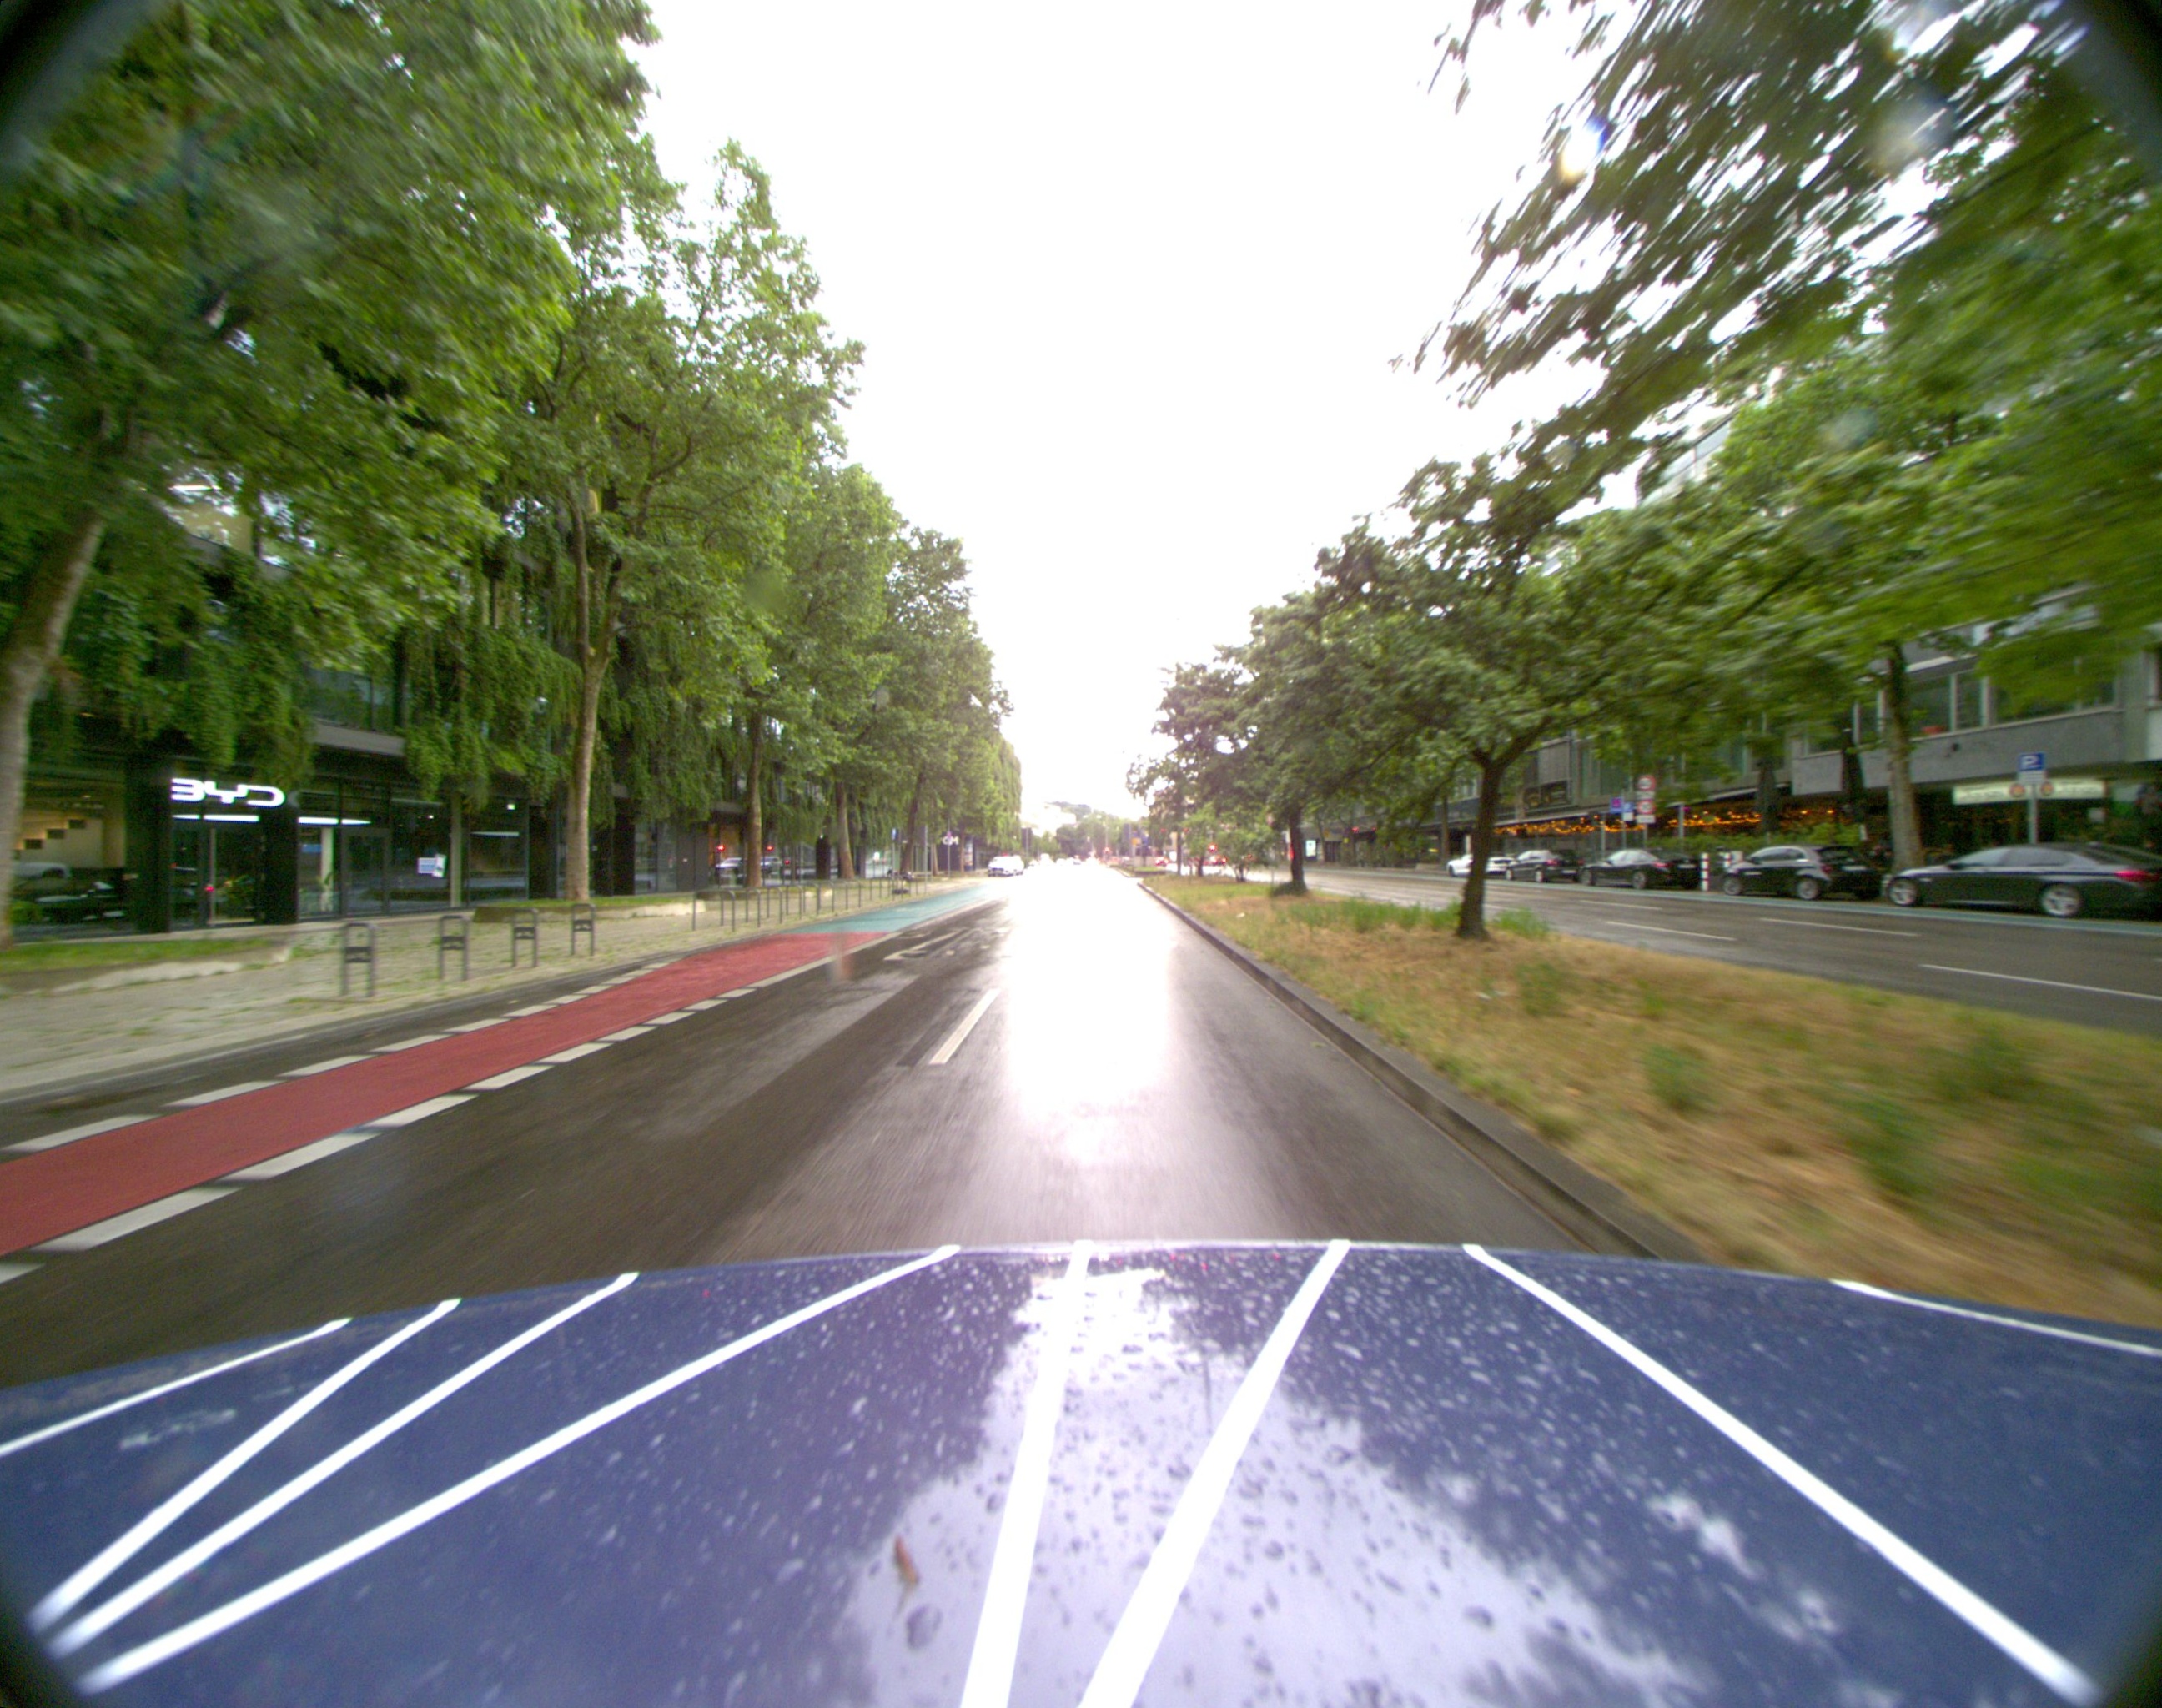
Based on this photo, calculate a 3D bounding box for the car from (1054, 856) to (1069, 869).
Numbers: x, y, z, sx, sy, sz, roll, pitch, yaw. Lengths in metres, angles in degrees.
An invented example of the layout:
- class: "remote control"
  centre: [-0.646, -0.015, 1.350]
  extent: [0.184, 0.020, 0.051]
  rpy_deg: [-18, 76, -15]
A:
- class: "car"
  centre: [-2.448, 1.054, 97.221]
  extent: [1.780, 1.546, 3.929]
  rpy_deg: [-2, 1, 1]

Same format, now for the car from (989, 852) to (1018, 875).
- class: "car"
  centre: [-6.679, 0.799, 65.988]
  extent: [1.932, 1.726, 4.598]
  rpy_deg: [-2, 1, 0]

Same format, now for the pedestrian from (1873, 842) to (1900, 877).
- class: "pedestrian"
  centre: [27.695, 0.191, 26.128]
  extent: [0.467, 1.179, 0.445]
  rpy_deg: [-3, 2, -9]

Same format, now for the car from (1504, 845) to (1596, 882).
- class: "car"
  centre: [20.433, 0.378, 33.286]
  extent: [1.750, 1.445, 3.788]
  rpy_deg: [-2, 1, 2]

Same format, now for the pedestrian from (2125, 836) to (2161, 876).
- class: "pedestrian"
  centre: [27.589, 0.055, 19.692]
  extent: [0.486, 0.995, 0.490]
  rpy_deg: [-3, 2, -14]

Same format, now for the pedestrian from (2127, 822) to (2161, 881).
- class: "pedestrian"
  centre: [30.459, -0.086, 21.603]
  extent: [0.606, 1.638, 0.623]
  rpy_deg: [-2, 2, -3]

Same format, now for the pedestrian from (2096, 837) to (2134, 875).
- class: "pedestrian"
  centre: [27.573, 0.049, 20.265]
  extent: [0.459, 0.987, 0.463]
  rpy_deg: [-3, 2, -14]

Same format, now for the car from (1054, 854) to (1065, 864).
- class: "car"
  centre: [-3.422, 0.795, 121.765]
  extent: [1.556, 1.534, 3.663]
  rpy_deg: [-2, 1, 1]

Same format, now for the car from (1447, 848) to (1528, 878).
- class: "car"
  centre: [20.665, 0.418, 38.860]
  extent: [1.881, 1.318, 4.392]
  rpy_deg: [-2, 1, 2]

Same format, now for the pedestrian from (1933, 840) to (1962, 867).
- class: "pedestrian"
  centre: [27.850, -0.025, 24.421]
  extent: [0.440, 0.845, 0.433]
  rpy_deg: [-2, 1, -1]

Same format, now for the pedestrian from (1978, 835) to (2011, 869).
- class: "pedestrian"
  centre: [27.715, -0.071, 23.055]
  extent: [0.464, 1.010, 0.424]
  rpy_deg: [-2, 2, -1]

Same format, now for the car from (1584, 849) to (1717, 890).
- class: "car"
  centre: [20.155, 0.486, 27.151]
  extent: [1.647, 1.232, 4.318]
  rpy_deg: [-2, 1, 3]

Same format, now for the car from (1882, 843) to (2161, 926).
- class: "car"
  centre: [19.866, 0.522, 15.789]
  extent: [1.875, 1.377, 4.537]
  rpy_deg: [-2, 1, 4]

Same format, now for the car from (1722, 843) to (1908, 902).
- class: "car"
  centre: [20.049, 0.435, 20.973]
  extent: [1.875, 1.414, 3.400]
  rpy_deg: [-2, 1, 2]

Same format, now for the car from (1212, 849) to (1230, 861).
- class: "car"
  centre: [19.488, 0.090, 105.773]
  extent: [1.780, 1.565, 3.728]
  rpy_deg: [-2, 1, 0]

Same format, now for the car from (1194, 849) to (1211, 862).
- class: "car"
  centre: [18.343, 0.195, 114.886]
  extent: [1.938, 1.776, 3.954]
  rpy_deg: [-2, 1, 2]

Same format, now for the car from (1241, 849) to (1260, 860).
- class: "car"
  centre: [22.308, 0.093, 100.213]
  extent: [1.765, 1.318, 3.738]
  rpy_deg: [-2, 1, 2]

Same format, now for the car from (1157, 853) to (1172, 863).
- class: "car"
  centre: [12.532, 0.618, 114.085]
  extent: [1.678, 1.381, 3.527]
  rpy_deg: [-2, 1, -2]

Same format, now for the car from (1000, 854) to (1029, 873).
- class: "car"
  centre: [-6.267, 0.879, 72.130]
  extent: [2.036, 1.553, 4.585]
  rpy_deg: [-2, 1, 2]
